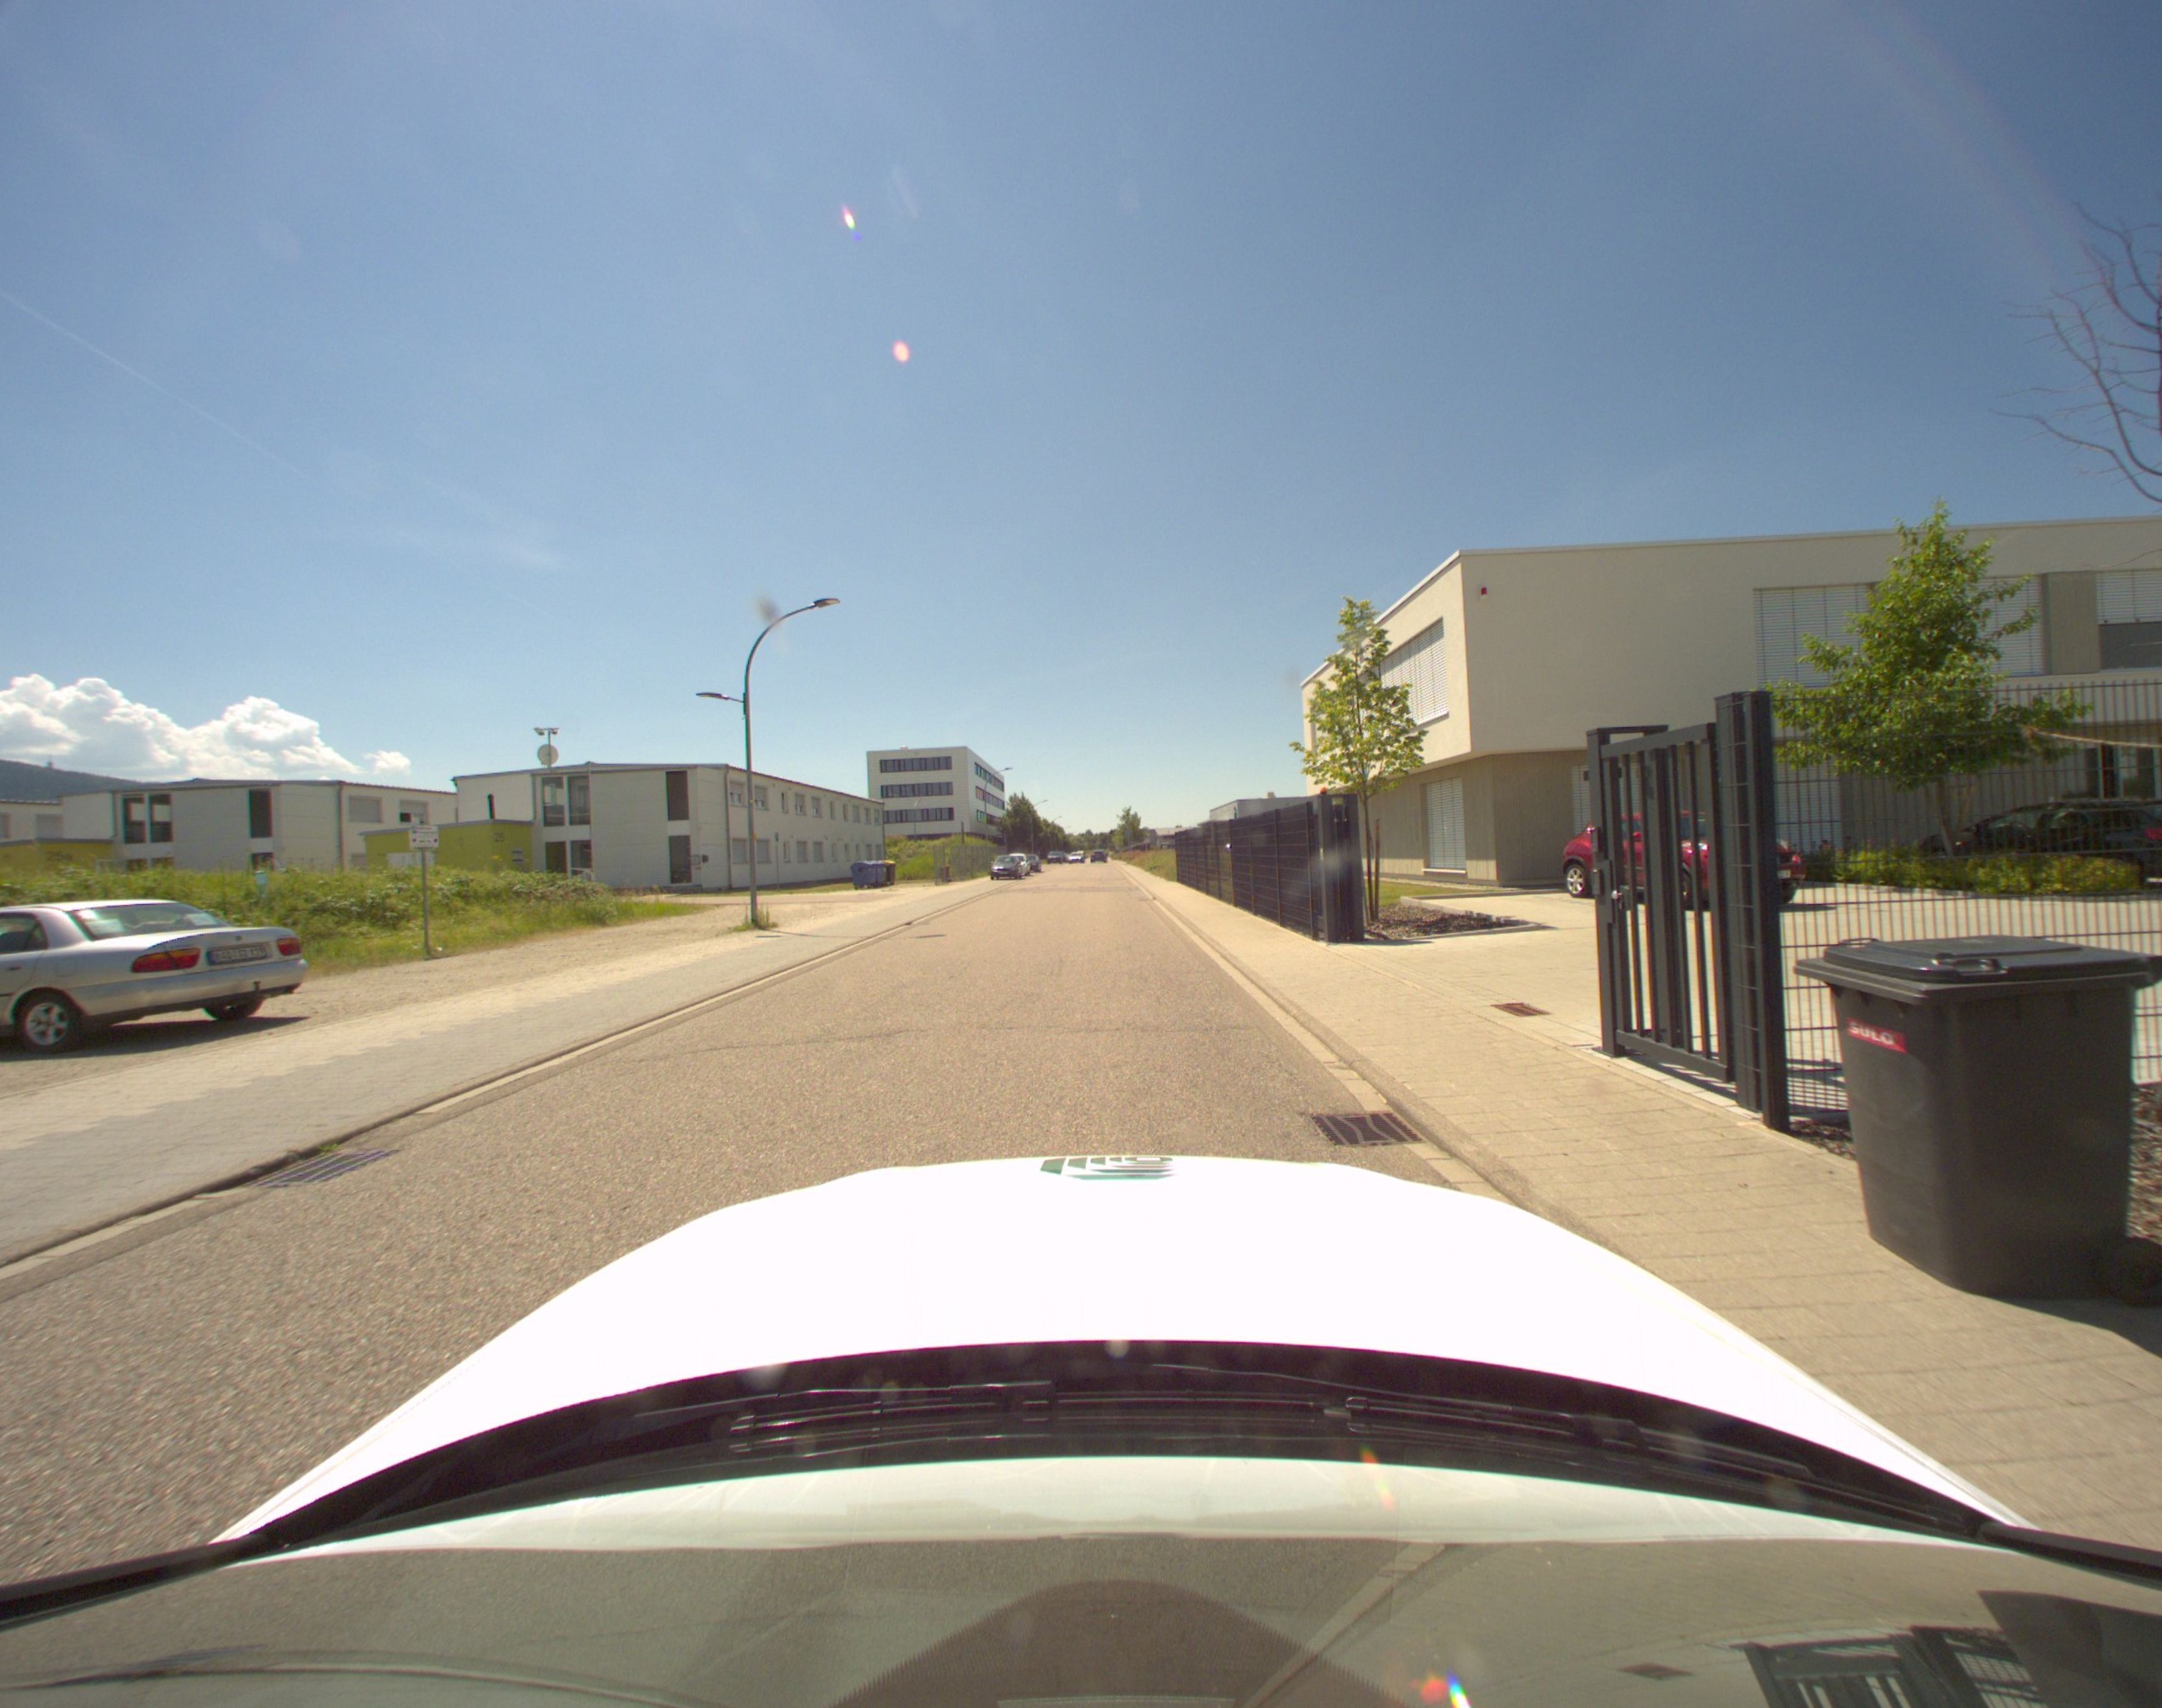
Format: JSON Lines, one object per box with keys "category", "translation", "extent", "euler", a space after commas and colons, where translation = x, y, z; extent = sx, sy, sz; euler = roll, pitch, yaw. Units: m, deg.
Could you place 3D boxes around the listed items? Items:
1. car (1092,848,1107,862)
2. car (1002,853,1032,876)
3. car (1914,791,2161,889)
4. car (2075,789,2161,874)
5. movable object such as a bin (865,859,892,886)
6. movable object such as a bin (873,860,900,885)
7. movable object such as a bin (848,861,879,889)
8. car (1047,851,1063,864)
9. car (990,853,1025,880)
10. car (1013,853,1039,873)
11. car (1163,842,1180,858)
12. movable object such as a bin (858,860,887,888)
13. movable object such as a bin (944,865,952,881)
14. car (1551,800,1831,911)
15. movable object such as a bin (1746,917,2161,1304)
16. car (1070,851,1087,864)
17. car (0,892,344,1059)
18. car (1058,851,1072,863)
{"category": "car", "translation": [2.275, 0.151, 101.172], "extent": [1.783, 1.623, 3.809], "euler": [-1, 0, 1]}
{"category": "car", "translation": [-4.468, 0.730, 56.963], "extent": [1.668, 1.530, 3.758], "euler": [-2, 0, 1]}
{"category": "car", "translation": [16.749, -0.281, 13.713], "extent": [1.664, 1.432, 3.676], "euler": [-3, 1, -1]}
{"category": "car", "translation": [19.179, -0.394, 13.053], "extent": [1.664, 1.432, 3.938], "euler": [-3, 1, -1]}
{"category": "movable object such as a bin", "translation": [-11.510, 1.027, 46.343], "extent": [1.084, 1.448, 1.389], "euler": [-2, -1, 0]}
{"category": "movable object such as a bin", "translation": [-11.426, 1.078, 47.786], "extent": [1.137, 1.405, 1.389], "euler": [-2, -1, 3]}
{"category": "movable object such as a bin", "translation": [-11.563, 1.100, 43.333], "extent": [1.138, 1.448, 1.435], "euler": [-2, -1, 4]}
{"category": "car", "translation": [-3.316, 0.481, 105.213], "extent": [1.764, 1.588, 4.482], "euler": [-3, 0, 1]}
{"category": "car", "translation": [-4.498, 0.756, 50.412], "extent": [1.668, 1.530, 3.910], "euler": [-2, 0, 1]}
{"category": "car", "translation": [-4.401, 0.710, 65.169], "extent": [1.668, 1.450, 4.070], "euler": [-2, 0, 1]}
{"category": "car", "translation": [9.549, -0.418, 85.866], "extent": [1.461, 1.574, 2.662], "euler": [-3, 0, 1]}
{"category": "movable object such as a bin", "translation": [-11.489, 1.089, 44.908], "extent": [1.119, 1.448, 1.373], "euler": [-2, -1, 4]}
{"category": "movable object such as a bin", "translation": [-7.670, 1.096, 46.887], "extent": [0.303, 0.940, 0.497], "euler": [-2, -1, 4]}
{"category": "car", "translation": [10.170, -0.028, 14.026], "extent": [1.664, 1.557, 4.076], "euler": [-3, 1, -2]}
{"category": "movable object such as a bin", "translation": [2.937, 0.785, 2.756], "extent": [0.745, 1.048, 0.699], "euler": [-4, -1, 1]}
{"category": "car", "translation": [-0.322, 0.440, 103.252], "extent": [1.762, 1.588, 4.081], "euler": [-3, 0, 5]}
{"category": "car", "translation": [-10.641, 1.240, 8.470], "extent": [4.230, 1.379, 1.863], "euler": [-3, 0, 2]}
{"category": "car", "translation": [-2.362, 0.463, 118.014], "extent": [1.764, 1.623, 4.583], "euler": [-2, 0, 1]}
